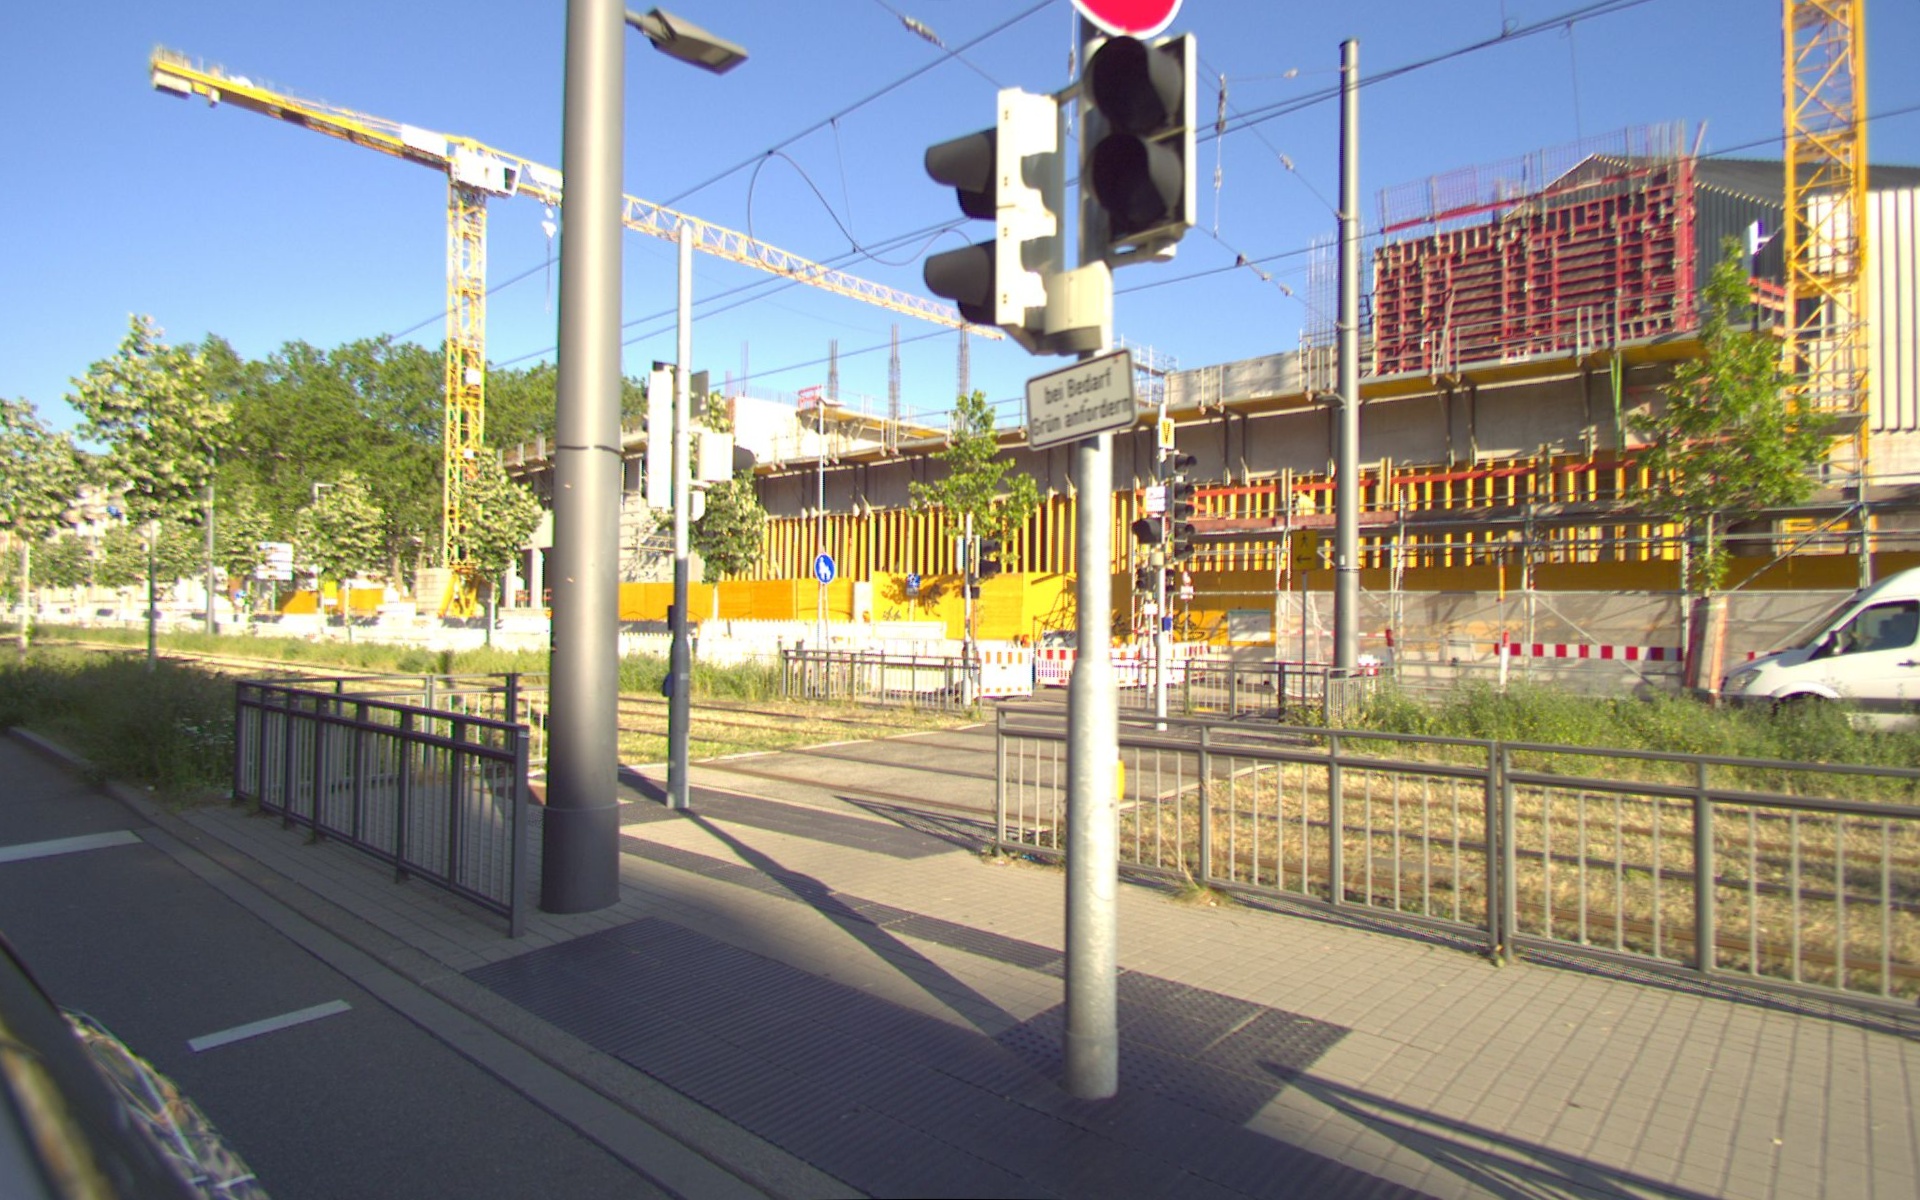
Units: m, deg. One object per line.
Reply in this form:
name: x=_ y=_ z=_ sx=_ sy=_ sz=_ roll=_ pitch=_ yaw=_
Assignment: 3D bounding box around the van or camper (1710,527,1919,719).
van or camper: x=14.402 y=0.334 z=13.339 sx=7.192 sy=2.529 sz=2.200 roll=-1 pitch=-3 yaw=39
